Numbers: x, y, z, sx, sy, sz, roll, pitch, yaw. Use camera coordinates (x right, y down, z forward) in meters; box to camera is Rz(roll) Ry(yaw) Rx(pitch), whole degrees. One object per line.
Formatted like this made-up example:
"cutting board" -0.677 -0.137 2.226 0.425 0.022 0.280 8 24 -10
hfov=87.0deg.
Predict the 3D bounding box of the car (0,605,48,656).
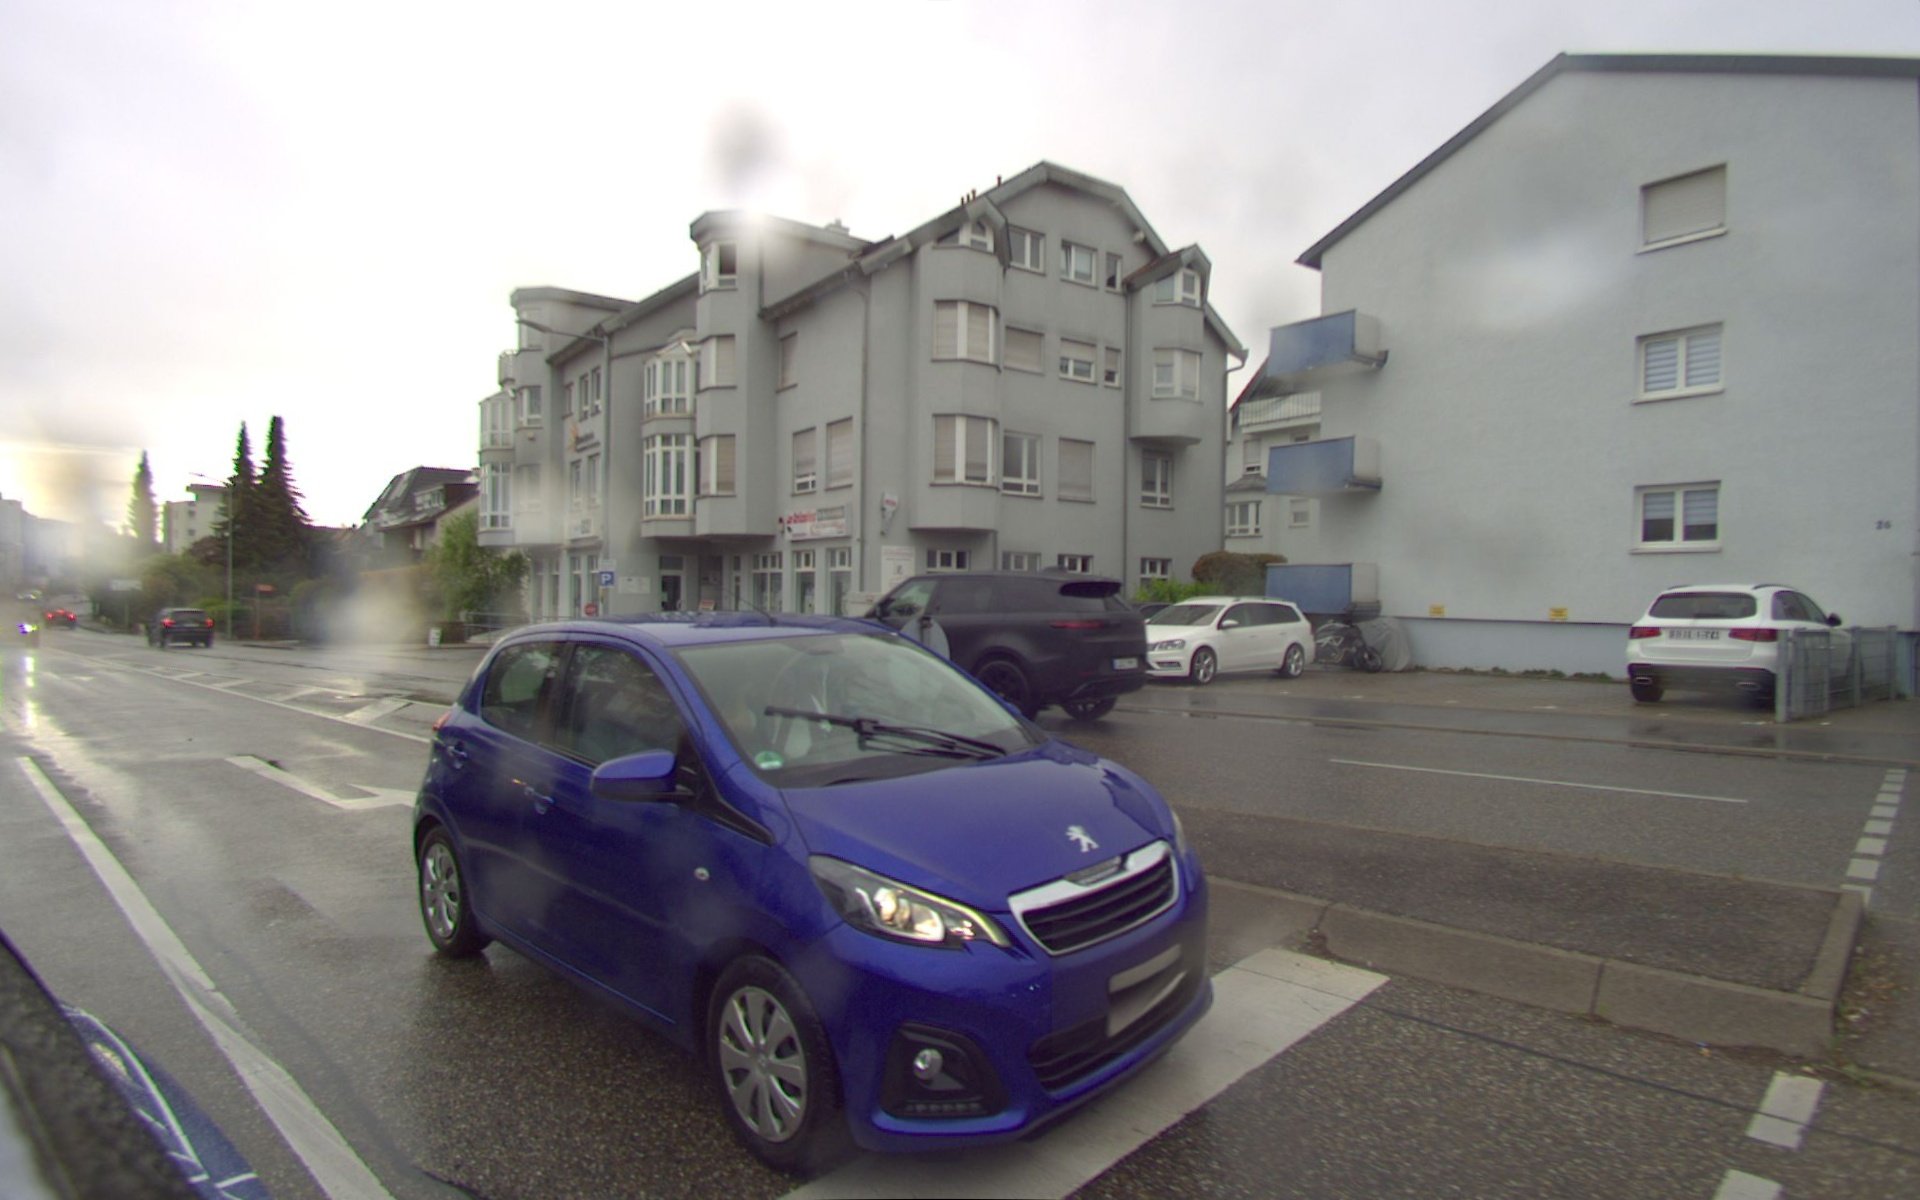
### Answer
"car" -39.622 1.244 42.440 1.970 2.029 4.004 -1 0 -43

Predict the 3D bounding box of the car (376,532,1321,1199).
"car" -0.654 0.665 3.707 3.351 1.568 1.630 -1 0 42

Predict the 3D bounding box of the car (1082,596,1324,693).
"car" 4.436 0.703 18.111 4.554 1.508 1.932 0 0 -41

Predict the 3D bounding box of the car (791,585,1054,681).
"car" -0.616 0.574 20.692 2.148 1.696 5.402 -1 0 44

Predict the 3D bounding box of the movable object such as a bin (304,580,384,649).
"movable object such as a bin" -26.574 0.611 43.702 2.878 2.863 2.203 -1 0 -31

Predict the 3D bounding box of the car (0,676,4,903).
"car" -7.193 0.674 5.882 4.647 1.763 1.973 -1 0 42

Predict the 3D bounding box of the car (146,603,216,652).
"car" -34.072 1.187 44.219 1.970 2.029 4.003 -1 0 -44

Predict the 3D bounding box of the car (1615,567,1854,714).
"car" 10.862 0.479 14.105 3.937 1.763 1.832 -1 0 -40

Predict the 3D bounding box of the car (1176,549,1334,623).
"car" 8.490 -0.386 29.191 3.931 2.029 2.007 -1 0 -21

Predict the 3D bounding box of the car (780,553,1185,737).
"car" 0.136 0.477 12.470 4.729 1.847 2.076 -1 0 40
